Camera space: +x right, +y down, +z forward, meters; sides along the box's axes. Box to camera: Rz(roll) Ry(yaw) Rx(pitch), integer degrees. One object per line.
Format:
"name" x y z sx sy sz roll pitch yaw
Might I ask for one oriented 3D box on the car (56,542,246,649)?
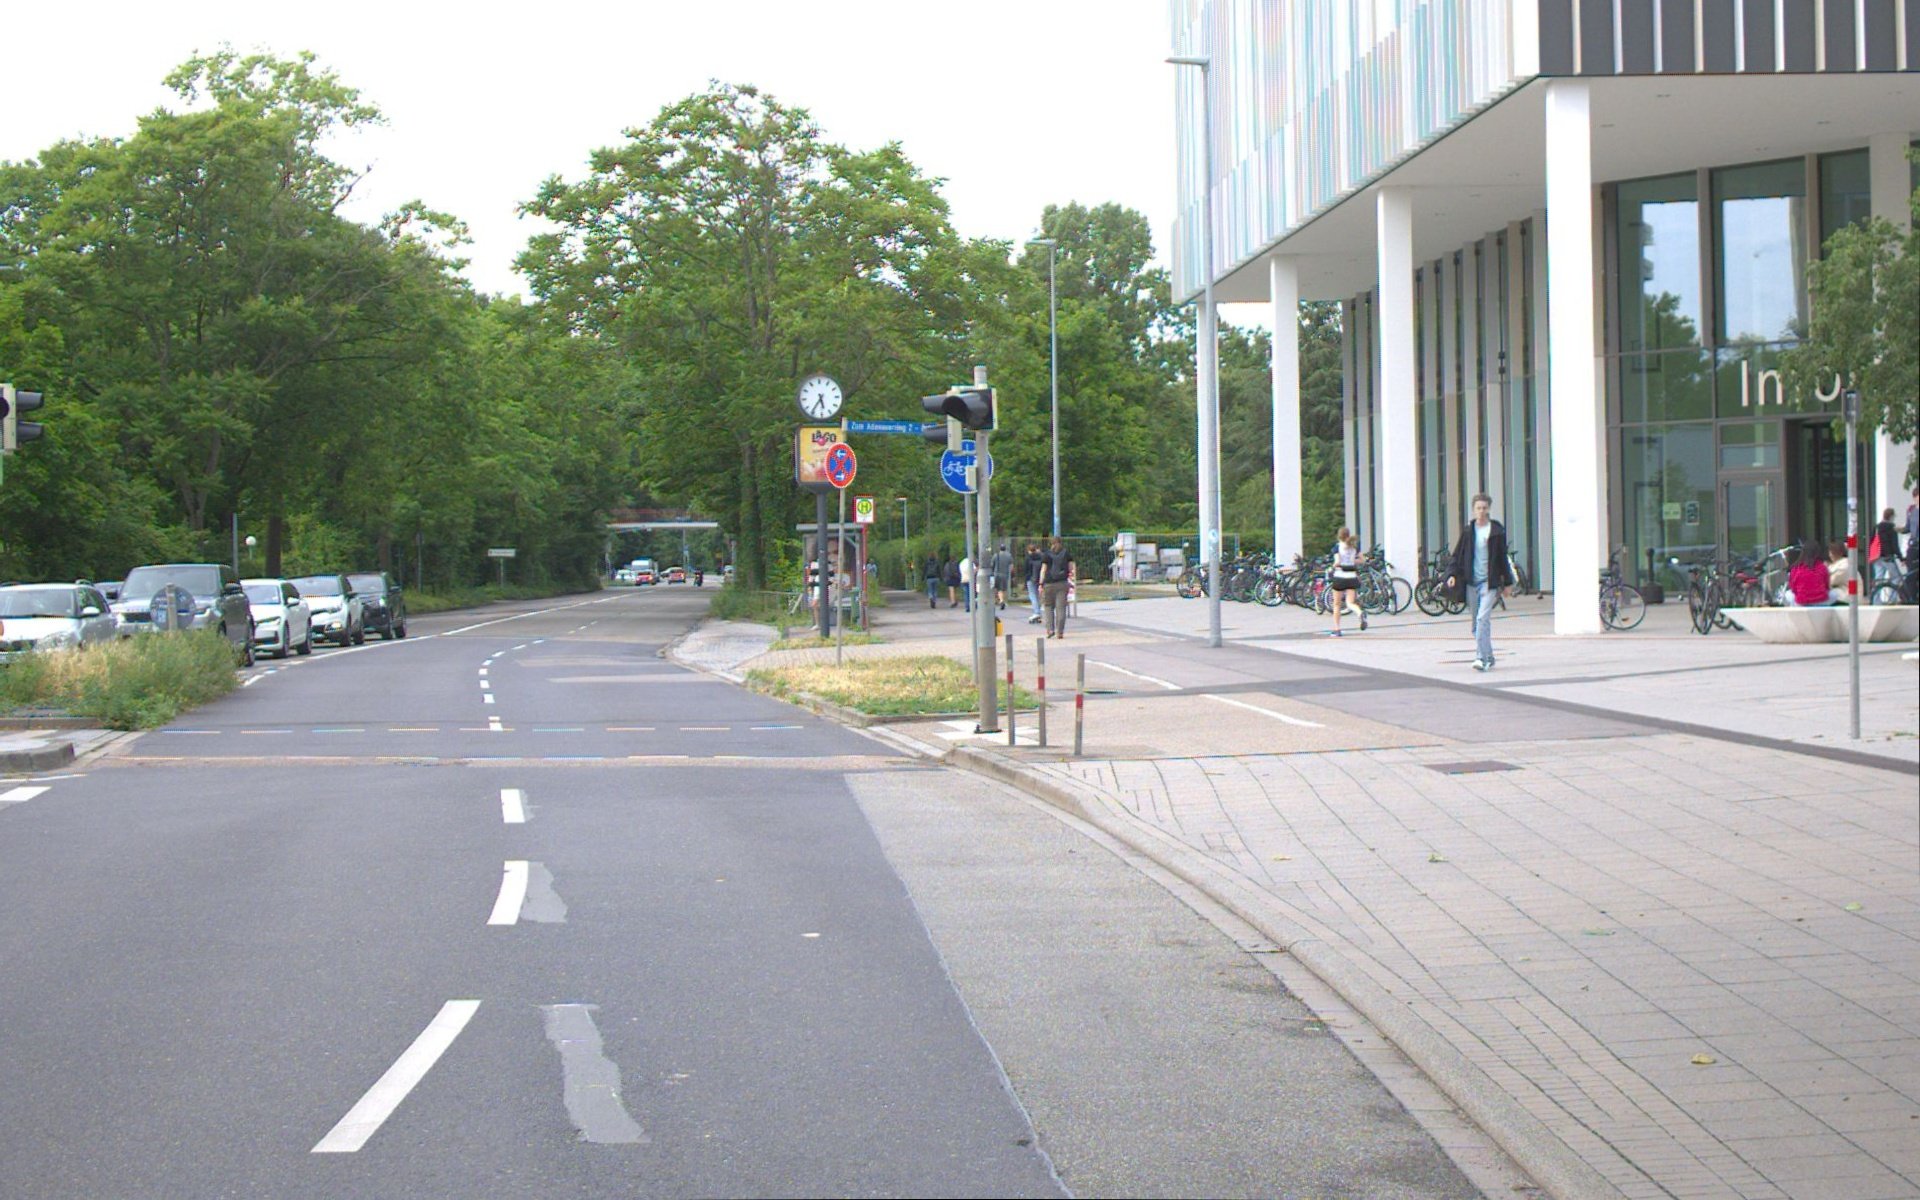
"car" -13.299 -0.110 56.824 1.993 1.681 4.948 0 1 0

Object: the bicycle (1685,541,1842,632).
"bicycle" 11.145 -0.201 47.615 2.713 1.184 0.774 -2 1 -45

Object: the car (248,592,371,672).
"car" -13.965 0.670 73.996 1.993 1.541 4.180 -3 1 -3

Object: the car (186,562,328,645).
"car" -13.235 0.039 64.954 1.903 1.460 4.911 1 1 -3

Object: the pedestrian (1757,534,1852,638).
"pedestrian" 9.991 -0.168 40.648 0.844 1.202 0.893 -1 1 31

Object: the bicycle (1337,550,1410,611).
"bicycle" 7.608 -0.360 63.283 0.607 1.076 1.963 -3 1 -14

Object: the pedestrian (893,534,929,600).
"pedestrian" -1.513 -1.015 105.669 0.925 2.007 1.040 -2 1 -7

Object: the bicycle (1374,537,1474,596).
"bicycle" 9.713 -0.703 72.010 1.985 1.140 0.647 -2 1 38

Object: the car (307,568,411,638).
"car" -14.429 0.050 82.694 1.902 1.588 4.517 -2 1 -3

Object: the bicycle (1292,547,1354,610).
"bicycle" 6.963 -0.413 66.061 0.635 1.136 2.201 -4 1 -7

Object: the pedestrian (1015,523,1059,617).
"pedestrian" 1.661 -0.648 74.599 0.842 2.007 0.894 -1 1 -3

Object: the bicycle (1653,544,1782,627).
"bicycle" 10.805 -0.216 49.003 0.736 1.112 2.177 -1 1 44

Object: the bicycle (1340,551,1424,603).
"bicycle" 8.450 -0.465 68.804 1.607 0.932 0.568 -4 1 8

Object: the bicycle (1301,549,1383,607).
"bicycle" 7.981 -0.466 71.853 1.644 1.087 0.572 -4 1 6

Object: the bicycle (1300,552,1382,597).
"bicycle" 7.853 -0.526 70.861 1.606 0.872 0.556 -2 1 -2

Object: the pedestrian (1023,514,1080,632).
"pedestrian" 1.593 -0.471 59.734 0.842 2.007 0.894 -3 1 -1

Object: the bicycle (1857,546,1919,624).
"bicycle" 12.801 -0.216 45.745 1.955 0.998 0.774 -2 1 -45

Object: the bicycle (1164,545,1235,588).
"bicycle" 6.486 -0.911 93.223 1.794 1.078 0.626 -3 1 -4

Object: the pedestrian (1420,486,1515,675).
"pedestrian" 5.515 -0.217 37.410 0.842 2.007 0.894 -1 1 -1

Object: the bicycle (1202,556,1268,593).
"bicycle" 7.096 -0.660 88.687 1.606 0.872 0.556 -2 1 -2

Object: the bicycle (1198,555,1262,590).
"bicycle" 7.092 -0.723 90.290 1.606 0.872 0.556 -2 1 -2

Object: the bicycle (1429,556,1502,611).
"bicycle" 9.095 -0.306 61.850 1.484 0.926 0.440 -3 3 -42

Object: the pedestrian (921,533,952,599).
"pedestrian" -0.739 -1.059 105.880 0.823 2.007 0.720 -2 1 -7

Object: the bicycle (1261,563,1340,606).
"bicycle" 7.297 -0.339 73.705 1.606 0.872 0.556 -2 1 -2

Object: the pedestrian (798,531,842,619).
"pedestrian" -3.329 -0.592 81.621 0.912 2.006 0.854 -3 3 -4

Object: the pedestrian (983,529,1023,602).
"pedestrian" 1.196 -0.975 96.061 0.925 2.007 1.040 -2 1 -7

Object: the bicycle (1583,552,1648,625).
"bicycle" 9.733 -0.177 51.105 0.638 1.058 1.840 1 1 2

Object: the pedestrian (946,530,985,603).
"pedestrian" 0.148 -0.941 95.814 0.925 2.007 1.040 -2 1 -7

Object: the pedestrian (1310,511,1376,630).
"pedestrian" 5.975 -0.458 53.672 0.842 1.829 0.894 -1 1 -4

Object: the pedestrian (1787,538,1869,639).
"pedestrian" 10.409 -0.145 41.265 0.892 1.189 0.845 -1 1 11

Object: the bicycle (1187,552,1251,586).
"bicycle" 6.929 -0.829 92.100 1.606 0.872 0.556 -2 1 -6

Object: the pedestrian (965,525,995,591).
"pedestrian" 0.618 -1.296 105.833 0.824 2.007 0.720 -2 1 -3

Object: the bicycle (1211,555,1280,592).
"bicycle" 6.791 -0.636 81.815 1.532 0.831 0.556 -2 1 -2

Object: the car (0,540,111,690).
"car" -13.360 0.192 48.348 1.993 2.007 4.001 -2 1 -3

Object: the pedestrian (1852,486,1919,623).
"pedestrian" 14.268 -0.687 52.249 1.181 2.055 1.135 1 1 6

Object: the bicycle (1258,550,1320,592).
"bicycle" 7.327 -0.643 76.612 1.283 0.872 0.556 -2 1 -2
